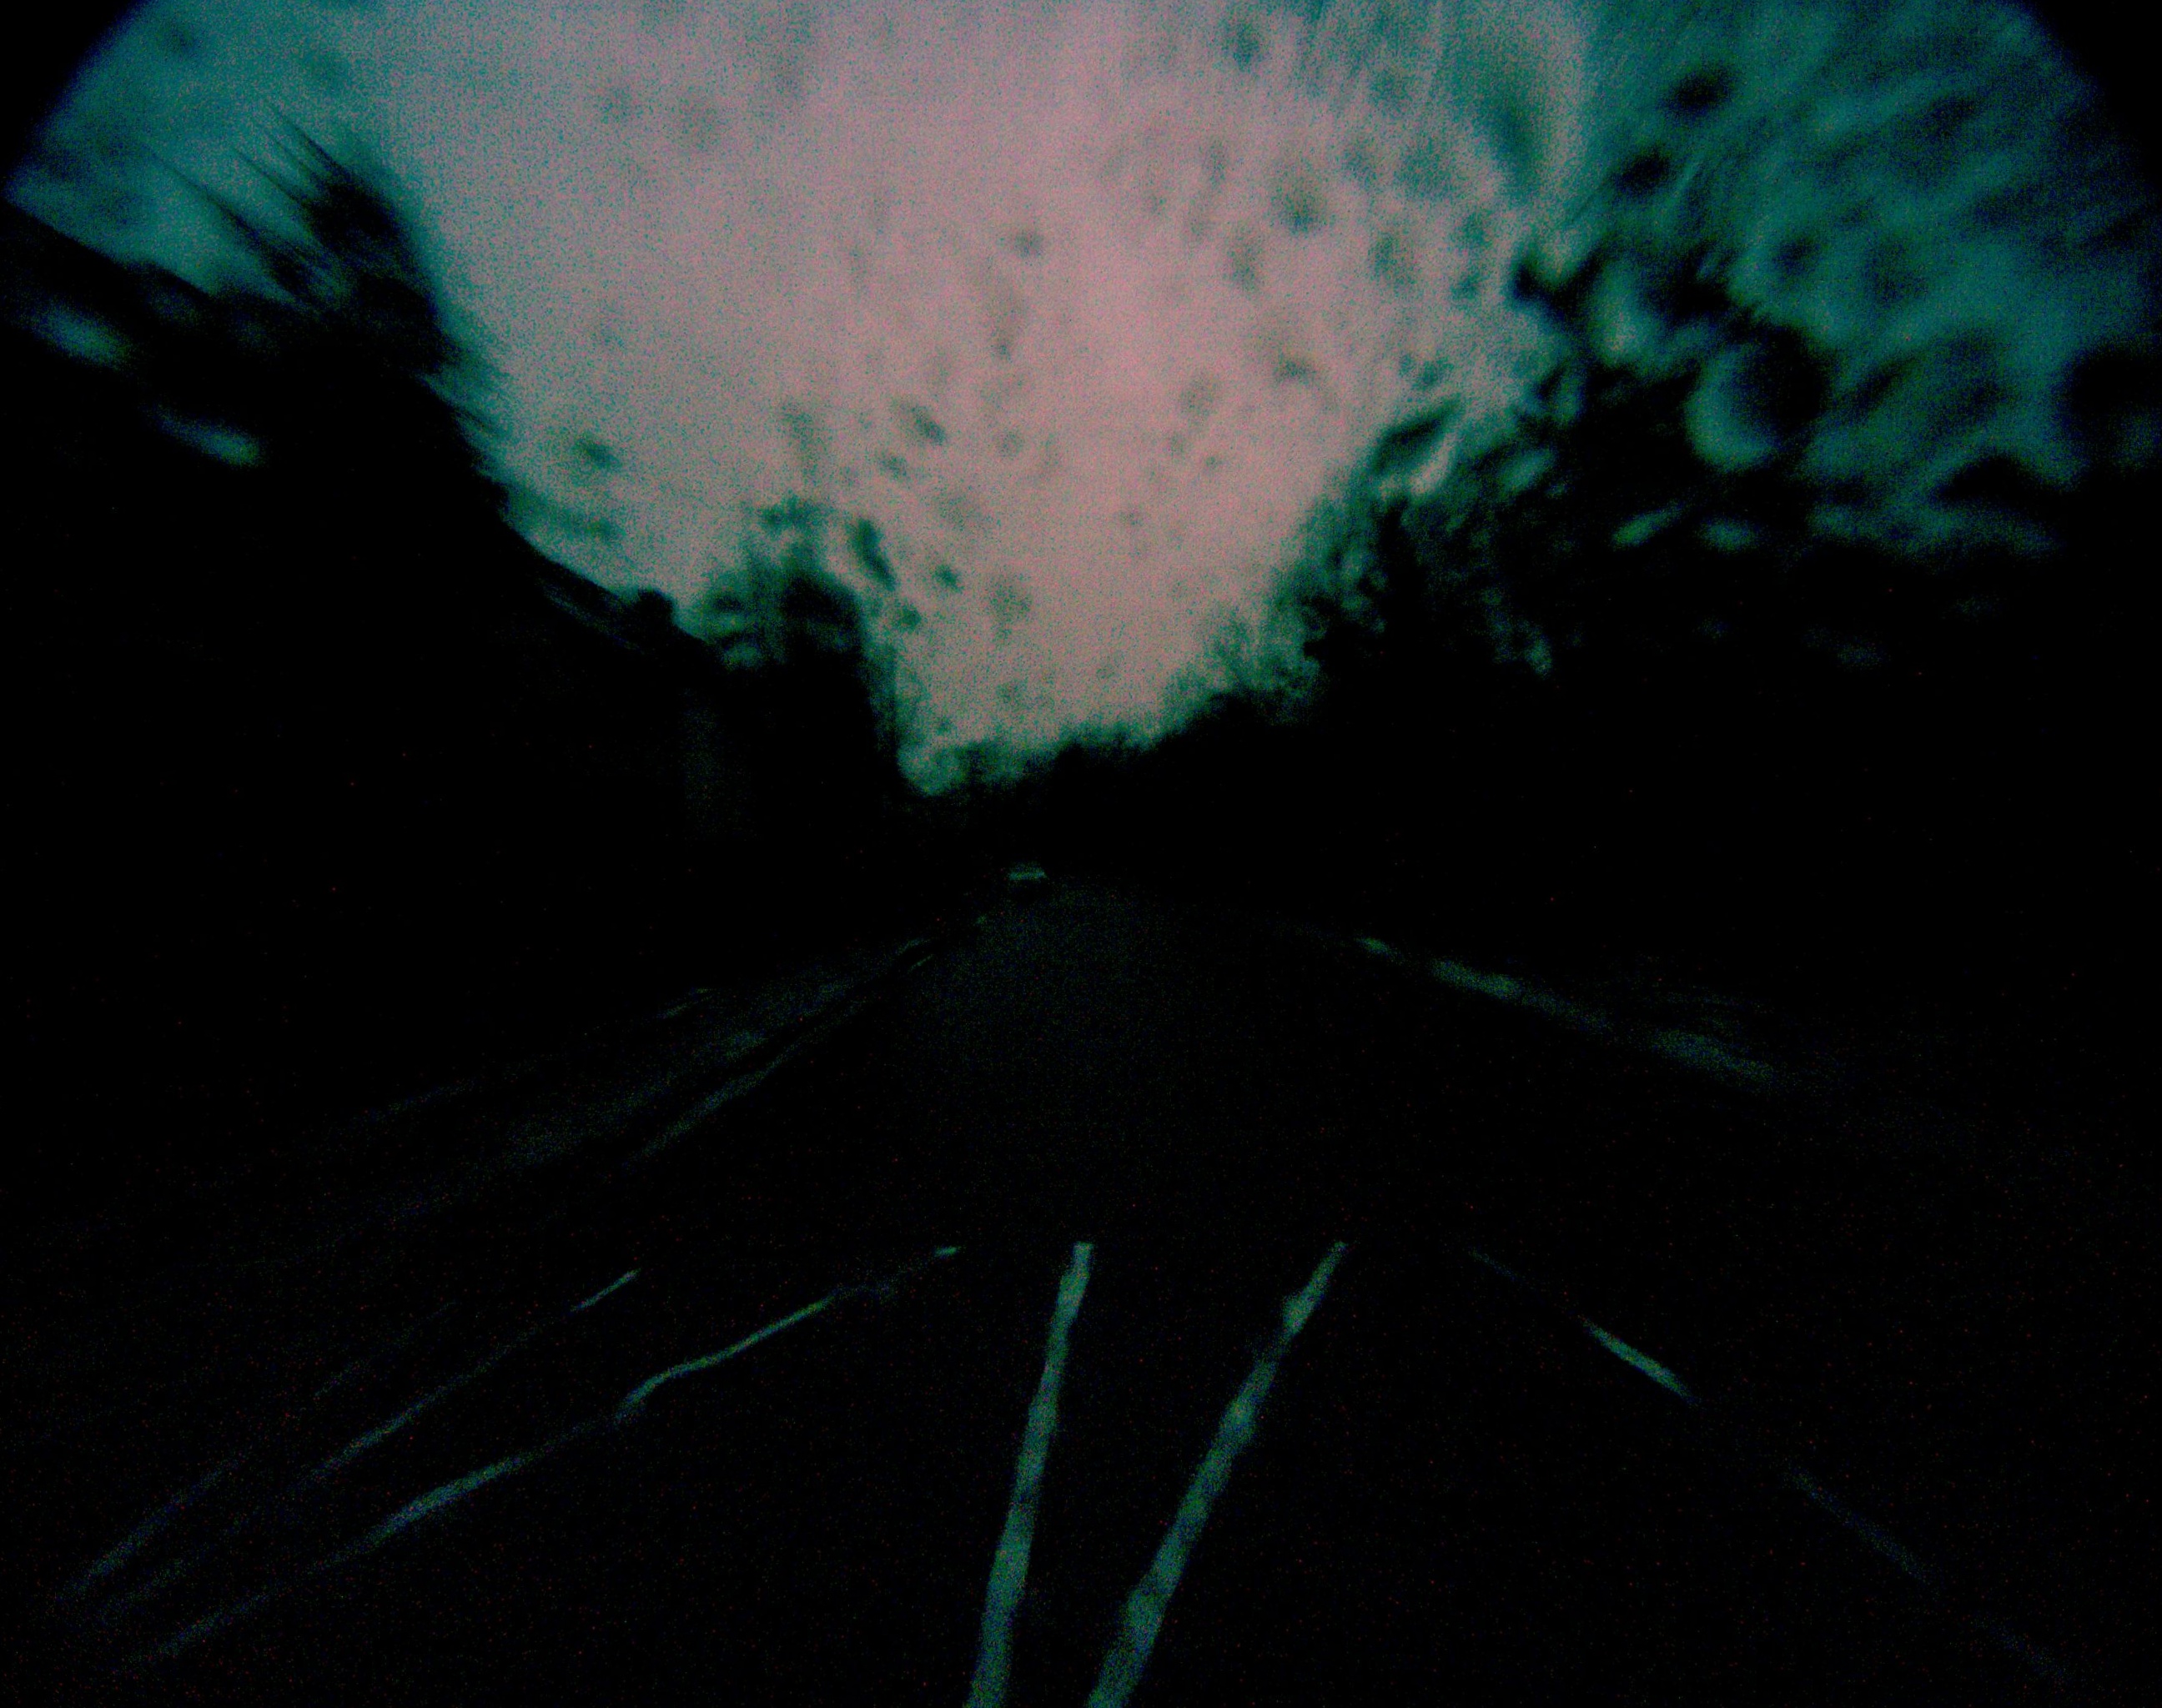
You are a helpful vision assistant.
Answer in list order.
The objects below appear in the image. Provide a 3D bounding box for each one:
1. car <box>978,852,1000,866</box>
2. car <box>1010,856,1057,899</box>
[{"bbox_3d":[-9.962,0.490,82.299,1.744,1.421,4.451,-3,1,-15],"label":"car"},{"bbox_3d":[-1.987,0.896,30.840,1.709,1.497,4.022,-2,1,-5],"label":"car"}]
